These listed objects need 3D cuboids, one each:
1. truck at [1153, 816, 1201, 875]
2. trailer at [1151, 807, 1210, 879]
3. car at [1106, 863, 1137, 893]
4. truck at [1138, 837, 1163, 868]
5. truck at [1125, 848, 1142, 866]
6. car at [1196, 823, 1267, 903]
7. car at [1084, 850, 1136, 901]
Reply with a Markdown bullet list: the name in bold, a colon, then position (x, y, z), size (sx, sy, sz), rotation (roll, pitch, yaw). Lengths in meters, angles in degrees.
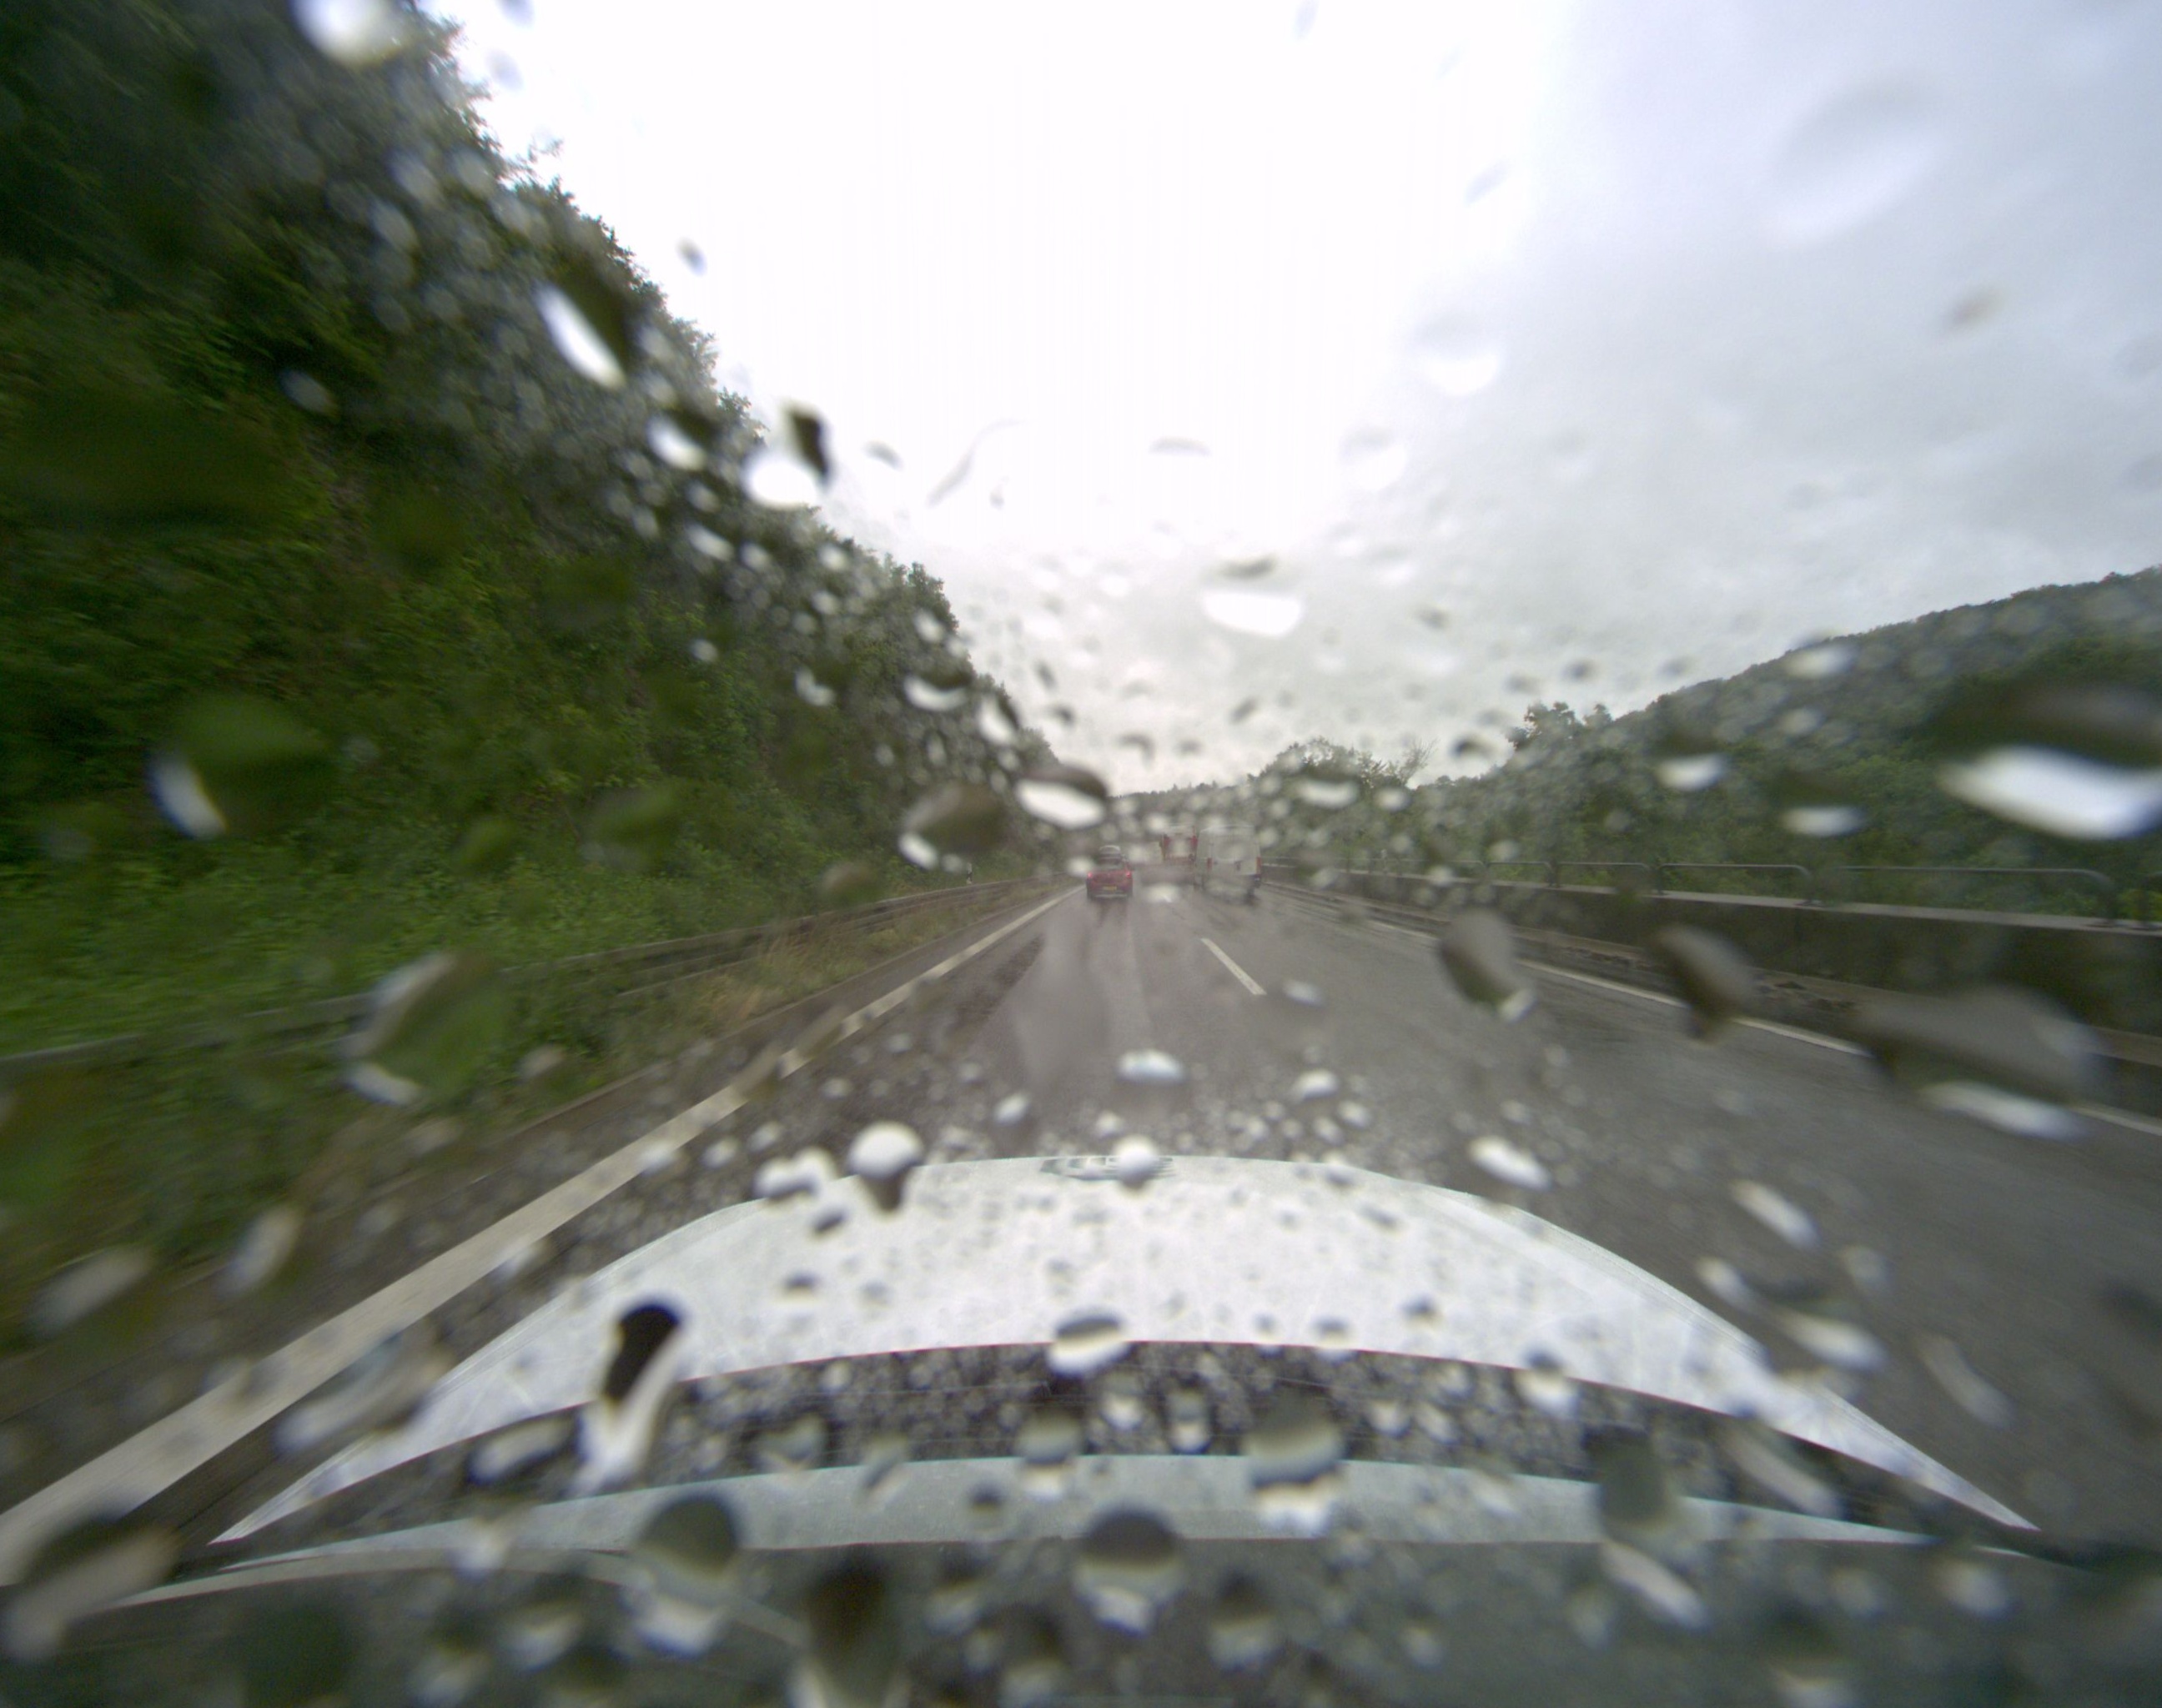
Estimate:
- **truck**: position (7.052, -0.592, 60.201), size (3.204, 3.978, 5.447), rotation (-2, -1, 6)
- **trailer**: position (6.385, -0.604, 53.408), size (3.202, 3.999, 13.545), rotation (-2, 0, 6)
- **car**: position (2.656, 1.536, 52.677), size (1.825, 1.715, 3.649), rotation (-5, -1, 4)
- **truck**: position (9.983, -0.130, 117.317), size (2.677, 4.094, 9.317), rotation (-4, -1, 1)
- **truck**: position (9.889, 0.638, 154.642), size (3.050, 3.312, 8.075), rotation (-1, 0, 2)
- **car**: position (5.863, 0.330, 32.590), size (2.195, 2.794, 7.394), rotation (-1, 0, 6)
- **car**: position (1.135, 0.782, 31.320), size (1.751, 1.684, 4.002), rotation (-5, -1, 2)
